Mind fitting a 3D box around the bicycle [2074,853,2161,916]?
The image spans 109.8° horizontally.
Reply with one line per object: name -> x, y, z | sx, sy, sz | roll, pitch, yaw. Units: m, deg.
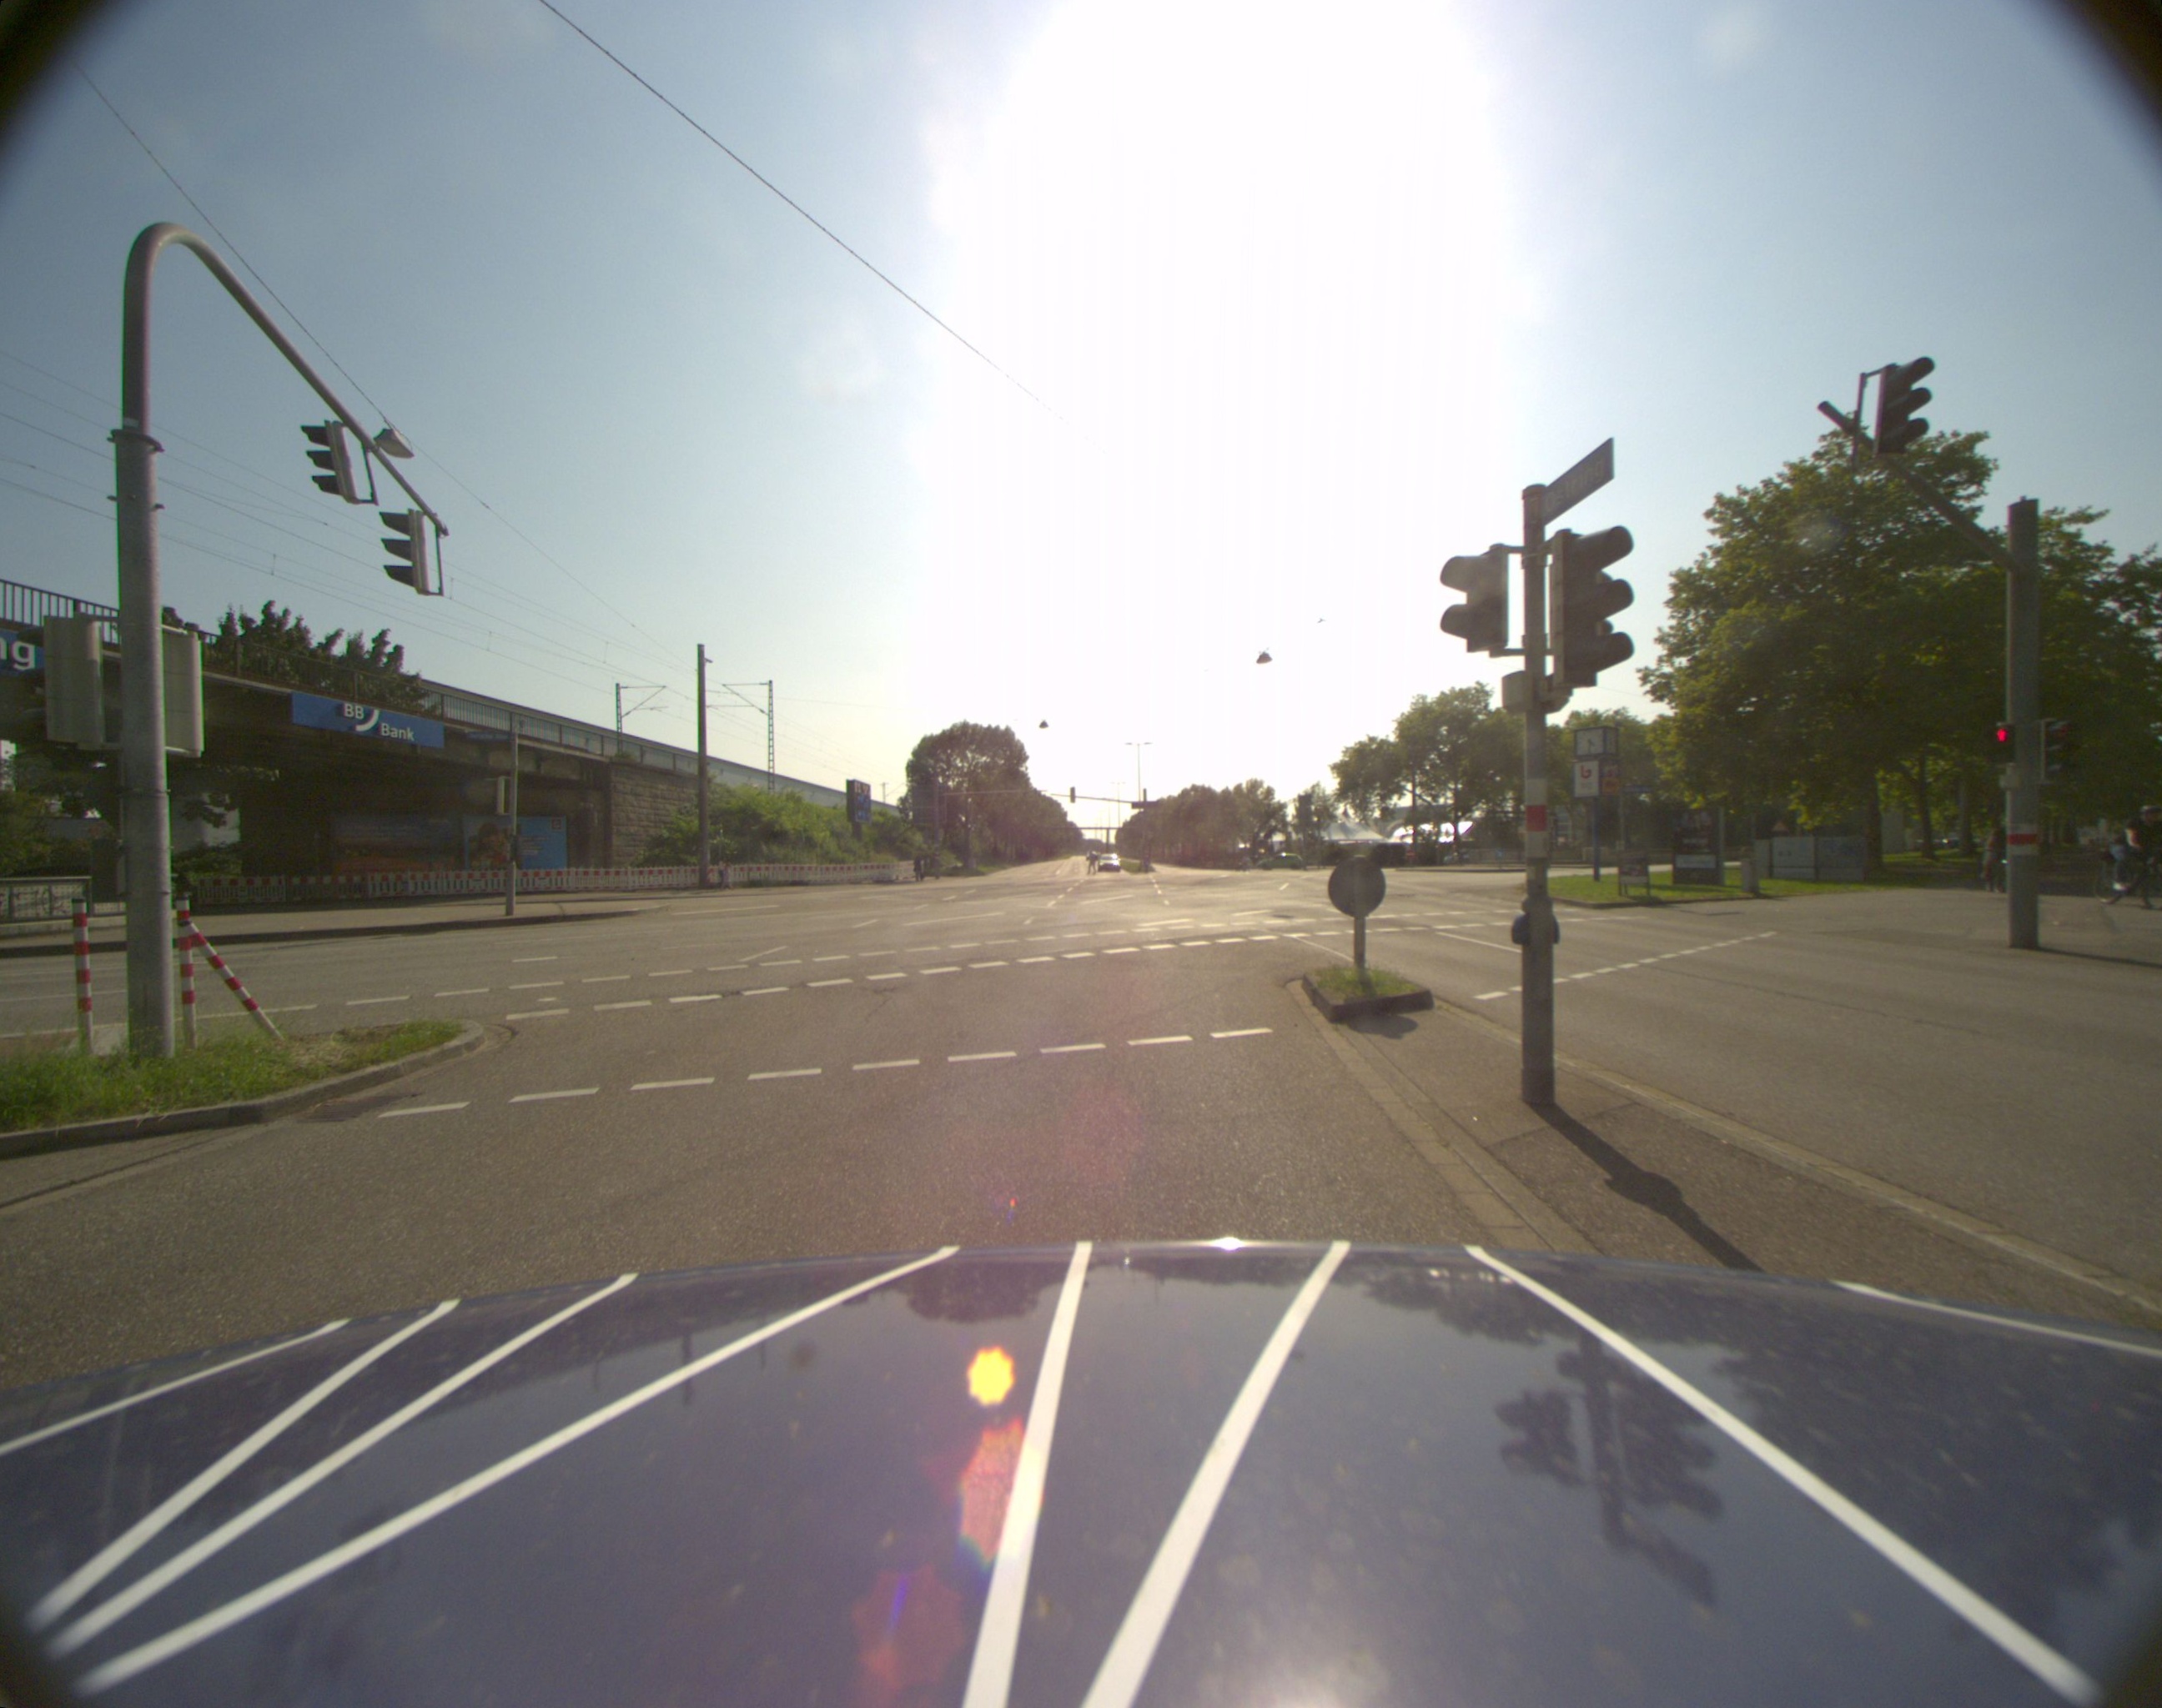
bicycle -> 20.144, 0.545, 14.481 | 0.684, 1.084, 1.899 | -1, 2, 26

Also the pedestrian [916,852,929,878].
pedestrian -> -9.427, 0.656, 45.292 | 0.650, 1.565, 0.759 | 0, 2, -3

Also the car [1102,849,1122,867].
car -> 2.604, 0.307, 62.925 | 1.544, 1.434, 3.395 | -1, 1, 3

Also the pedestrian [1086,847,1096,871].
pedestrian -> 0.702, 0.368, 55.332 | 0.646, 1.715, 0.587 | 0, 2, 10

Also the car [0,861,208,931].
car -> -25.636, 1.067, 19.315 | 4.202, 1.578, 1.777 | -2, -1, -37

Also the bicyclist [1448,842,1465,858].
bicyclist -> 26.447, -0.282, 53.521 | 0.521, 1.134, 0.907 | -2, 1, -21

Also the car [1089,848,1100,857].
car -> 2.372, -0.334, 133.617 | 1.864, 1.585, 4.000 | -1, 1, 2

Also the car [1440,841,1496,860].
car -> 33.230, -0.320, 65.220 | 5.440, 1.438, 1.855 | -2, 2, -34

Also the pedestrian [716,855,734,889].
pedestrian -> -16.672, 0.848, 35.579 | 0.636, 1.565, 0.489 | -3, 2, -37

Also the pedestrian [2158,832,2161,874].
pedestrian -> 35.508, -0.045, 24.715 | 0.539, 1.357, 0.488 | -3, 2, -40

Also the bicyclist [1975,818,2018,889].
bicyclist -> 22.421, -0.015, 18.606 | 0.811, 1.678, 0.632 | -1, 1, -37

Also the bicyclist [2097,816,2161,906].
bicyclist -> 20.102, 0.126, 14.414 | 0.667, 1.678, 0.811 | 0, 1, 25

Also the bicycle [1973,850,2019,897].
bicycle -> 22.402, 0.455, 18.600 | 1.653, 1.088, 0.643 | -2, 1, -37

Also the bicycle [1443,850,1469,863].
bicycle -> 26.441, 0.173, 53.571 | 0.531, 0.860, 1.734 | -2, 1, -21

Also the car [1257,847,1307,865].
car -> 17.847, 0.208, 67.460 | 3.990, 1.543, 2.003 | -1, 1, 25
